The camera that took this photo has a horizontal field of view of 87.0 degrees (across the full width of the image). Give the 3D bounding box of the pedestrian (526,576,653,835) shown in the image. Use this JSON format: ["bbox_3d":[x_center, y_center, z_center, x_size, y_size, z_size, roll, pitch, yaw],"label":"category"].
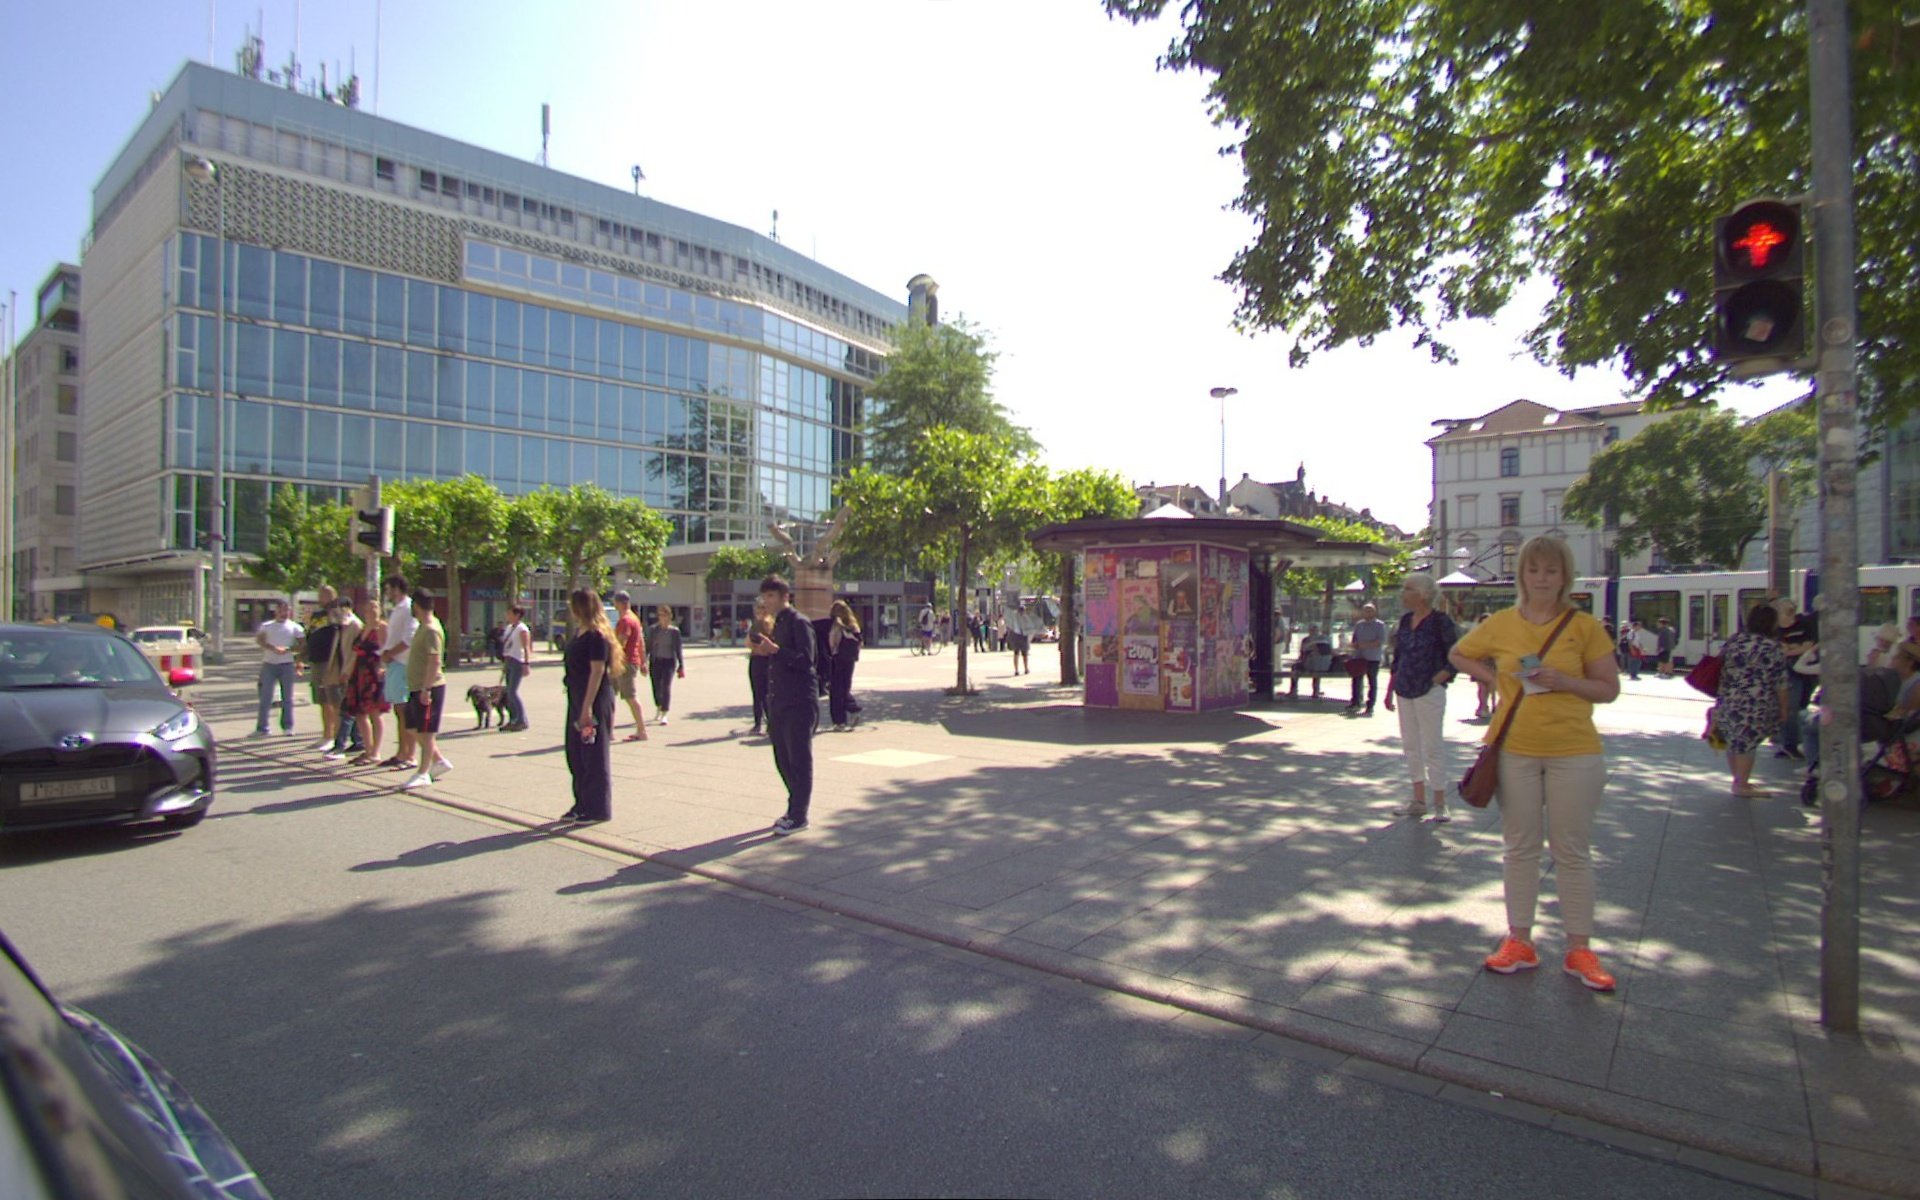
[{"bbox_3d":[-2.631,0.704,7.193,0.651,1.726,0.568,-1,0,38],"label":"pedestrian"}]

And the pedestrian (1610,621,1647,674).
[{"bbox_3d":[19.356,1.356,29.314,0.547,1.483,0.759,-1,0,-43],"label":"pedestrian"}]

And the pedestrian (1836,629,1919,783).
[{"bbox_3d":[8.108,0.899,8.850,0.662,1.251,0.616,-1,0,-44],"label":"pedestrian"}]

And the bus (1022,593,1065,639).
[{"bbox_3d":[5.867,0.987,69.457,2.362,2.811,12.156,-1,0,7],"label":"bus"}]

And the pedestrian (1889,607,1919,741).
[{"bbox_3d":[11.420,0.857,11.896,0.605,1.537,0.543,-1,0,30],"label":"pedestrian"}]

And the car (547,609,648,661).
[{"bbox_3d":[-15.194,1.437,42.341,3.988,2.029,1.978,-1,0,33],"label":"car"}]

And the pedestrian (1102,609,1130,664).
[{"bbox_3d":[4.586,1.063,29.749,0.589,1.604,0.562,-1,0,38],"label":"pedestrian"}]

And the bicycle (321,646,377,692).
[{"bbox_3d":[-16.562,1.849,27.437,1.753,1.156,0.586,-1,-1,33],"label":"bicycle"}]

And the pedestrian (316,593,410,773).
[{"bbox_3d":[-6.104,0.817,10.348,0.605,1.760,0.631,-1,0,38],"label":"pedestrian"}]

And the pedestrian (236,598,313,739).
[{"bbox_3d":[-8.890,0.860,13.153,0.720,1.760,0.642,-1,0,-26],"label":"pedestrian"}]

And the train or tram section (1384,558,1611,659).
[{"bbox_3d":[22.654,0.308,43.533,2.577,3.856,9.548,-1,0,-17],"label":"train or tram section"}]

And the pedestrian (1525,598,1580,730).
[{"bbox_3d":[8.098,0.852,13.829,0.547,1.740,0.492,-1,0,-43],"label":"pedestrian"}]

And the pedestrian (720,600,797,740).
[{"bbox_3d":[-2.539,0.856,12.744,0.721,1.682,0.641,-1,0,-37],"label":"pedestrian"}]

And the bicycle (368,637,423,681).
[{"bbox_3d":[-15.903,1.646,28.501,1.753,1.156,0.586,-1,-1,33],"label":"bicycle"}]

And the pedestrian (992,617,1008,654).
[{"bbox_3d":[1.626,1.446,41.063,0.410,1.483,0.459,-1,0,38],"label":"pedestrian"}]

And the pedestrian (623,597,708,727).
[{"bbox_3d":[-4.151,0.847,14.281,0.881,1.760,0.715,-1,0,30],"label":"pedestrian"}]

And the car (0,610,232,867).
[{"bbox_3d":[-6.934,0.871,7.366,3.998,1.486,1.758,-2,-4,41],"label":"car"}]

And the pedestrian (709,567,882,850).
[{"bbox_3d":[-1.104,0.670,6.847,0.732,1.760,0.866,-1,0,38],"label":"pedestrian"}]

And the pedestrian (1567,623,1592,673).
[{"bbox_3d":[19.273,1.485,31.491,0.555,1.483,0.748,-1,0,39],"label":"pedestrian"}]

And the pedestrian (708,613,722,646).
[{"bbox_3d":[-11.132,1.333,45.998,0.399,1.483,0.460,-1,0,24],"label":"pedestrian"}]

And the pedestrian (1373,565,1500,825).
[{"bbox_3d":[3.472,0.642,7.363,0.666,1.760,0.742,-1,0,38],"label":"pedestrian"}]

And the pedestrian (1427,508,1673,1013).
[{"bbox_3d":[2.340,0.564,4.012,0.752,1.760,0.605,-1,-1,38],"label":"pedestrian"}]

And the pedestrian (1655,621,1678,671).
[{"bbox_3d":[21.190,1.372,30.351,0.547,1.483,0.456,-1,0,-43],"label":"pedestrian"}]

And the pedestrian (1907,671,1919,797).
[{"bbox_3d":[7.629,1.043,7.849,0.334,0.974,0.282,-1,0,-20],"label":"pedestrian"}]

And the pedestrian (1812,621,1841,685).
[{"bbox_3d":[20.686,1.265,24.159,0.547,1.483,0.456,-1,0,-43],"label":"pedestrian"}]

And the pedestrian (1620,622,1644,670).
[{"bbox_3d":[21.280,1.445,32.060,0.555,1.483,0.748,-1,0,39],"label":"pedestrian"}]

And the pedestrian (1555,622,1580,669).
[{"bbox_3d":[19.735,1.468,32.870,0.555,1.483,0.748,-1,0,39],"label":"pedestrian"}]

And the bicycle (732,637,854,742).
[{"bbox_3d":[-2.154,1.089,12.876,0.718,1.152,1.917,-1,0,-36],"label":"bicycle"}]

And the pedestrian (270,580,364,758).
[{"bbox_3d":[-7.348,0.752,11.562,0.859,1.934,0.631,-1,0,39],"label":"pedestrian"}]

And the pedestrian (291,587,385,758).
[{"bbox_3d":[-6.718,0.747,10.934,0.732,1.760,0.631,-1,0,38],"label":"pedestrian"}]

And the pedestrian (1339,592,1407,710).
[{"bbox_3d":[6.416,0.763,15.703,0.782,1.760,0.742,-1,0,38],"label":"pedestrian"}]

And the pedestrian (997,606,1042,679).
[{"bbox_3d":[1.484,1.045,25.247,0.732,1.760,0.866,-1,0,38],"label":"pedestrian"}]

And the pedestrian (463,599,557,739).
[{"bbox_3d":[-5.927,0.874,13.336,0.732,1.760,0.866,-1,0,38],"label":"pedestrian"}]

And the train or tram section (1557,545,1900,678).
[{"bbox_3d":[25.407,0.314,34.416,2.577,3.856,9.548,-1,0,-17],"label":"train or tram section"}]

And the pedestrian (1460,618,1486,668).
[{"bbox_3d":[15.642,1.311,30.841,0.547,1.483,0.532,-1,0,-43],"label":"pedestrian"}]

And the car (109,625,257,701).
[{"bbox_3d":[-23.837,1.872,31.244,1.968,2.029,4.009,-1,0,-10],"label":"car"}]

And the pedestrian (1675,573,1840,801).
[{"bbox_3d":[6.547,0.670,8.328,0.739,1.760,0.785,-1,0,-24],"label":"pedestrian"}]

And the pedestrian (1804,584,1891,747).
[{"bbox_3d":[9.926,0.712,11.334,0.611,1.760,0.532,-1,0,30],"label":"pedestrian"}]

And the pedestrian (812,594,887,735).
[{"bbox_3d":[-1.437,0.805,13.134,0.721,1.760,0.641,-1,0,-37],"label":"pedestrian"}]

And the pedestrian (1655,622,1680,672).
[{"bbox_3d":[21.908,1.438,31.335,0.555,1.483,0.748,-1,0,39],"label":"pedestrian"}]

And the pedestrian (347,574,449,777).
[{"bbox_3d":[-5.581,0.714,10.057,0.732,1.928,0.631,-1,0,38],"label":"pedestrian"}]

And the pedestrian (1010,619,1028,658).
[{"bbox_3d":[2.160,1.386,36.915,0.436,1.394,0.458,-1,0,38],"label":"pedestrian"}]

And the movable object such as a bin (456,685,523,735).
[{"bbox_3d":[-6.360,1.475,13.691,0.528,0.584,0.654,-1,0,38],"label":"movable object such as a bin"}]

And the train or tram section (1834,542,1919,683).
[{"bbox_3d":[28.145,0.320,25.310,2.577,3.856,9.548,-1,0,-17],"label":"train or tram section"}]

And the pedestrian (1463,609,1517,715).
[{"bbox_3d":[7.676,0.880,14.671,0.449,1.483,0.556,-1,0,-42],"label":"pedestrian"}]

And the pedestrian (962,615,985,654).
[{"bbox_3d":[0.549,1.344,39.820,0.554,1.483,0.748,-1,0,38],"label":"pedestrian"}]

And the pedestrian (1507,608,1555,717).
[{"bbox_3d":[8.291,0.885,14.693,0.484,1.537,0.456,-1,0,-43],"label":"pedestrian"}]

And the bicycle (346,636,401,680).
[{"bbox_3d":[-16.221,1.596,27.974,1.753,1.156,0.586,-1,-1,33],"label":"bicycle"}]

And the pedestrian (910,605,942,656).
[{"bbox_3d":[-1.187,1.071,35.743,0.732,1.760,0.866,-1,0,38],"label":"pedestrian"}]

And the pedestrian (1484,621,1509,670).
[{"bbox_3d":[16.915,1.423,31.885,0.547,1.483,0.532,-1,0,-43],"label":"pedestrian"}]

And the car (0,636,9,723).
[{"bbox_3d":[-16.942,1.231,16.453,3.998,1.415,1.677,-1,-5,41],"label":"car"}]

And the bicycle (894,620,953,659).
[{"bbox_3d":[-1.272,1.383,35.632,0.732,1.254,2.327,-1,0,38],"label":"bicycle"}]

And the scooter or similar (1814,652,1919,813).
[{"bbox_3d":[7.015,0.988,7.734,0.559,1.128,0.540,-1,0,-23],"label":"scooter or similar"}]

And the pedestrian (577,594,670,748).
[{"bbox_3d":[-4.036,0.818,12.144,0.730,1.760,0.744,-1,0,30],"label":"pedestrian"}]

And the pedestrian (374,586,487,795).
[{"bbox_3d":[-4.719,0.768,9.022,0.732,1.760,0.631,-1,0,38],"label":"pedestrian"}]

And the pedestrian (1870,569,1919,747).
[{"bbox_3d":[9.847,0.564,10.241,0.779,1.760,0.744,-1,0,30],"label":"pedestrian"}]

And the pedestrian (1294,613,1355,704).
[{"bbox_3d":[6.327,1.004,17.604,0.772,1.518,0.751,-1,0,3],"label":"pedestrian"}]

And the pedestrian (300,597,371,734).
[{"bbox_3d":[-8.328,0.842,13.520,0.720,1.760,0.642,-1,0,-26],"label":"pedestrian"}]

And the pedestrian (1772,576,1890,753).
[{"bbox_3d":[9.107,0.642,10.616,0.779,1.760,0.744,-1,0,30],"label":"pedestrian"}]
